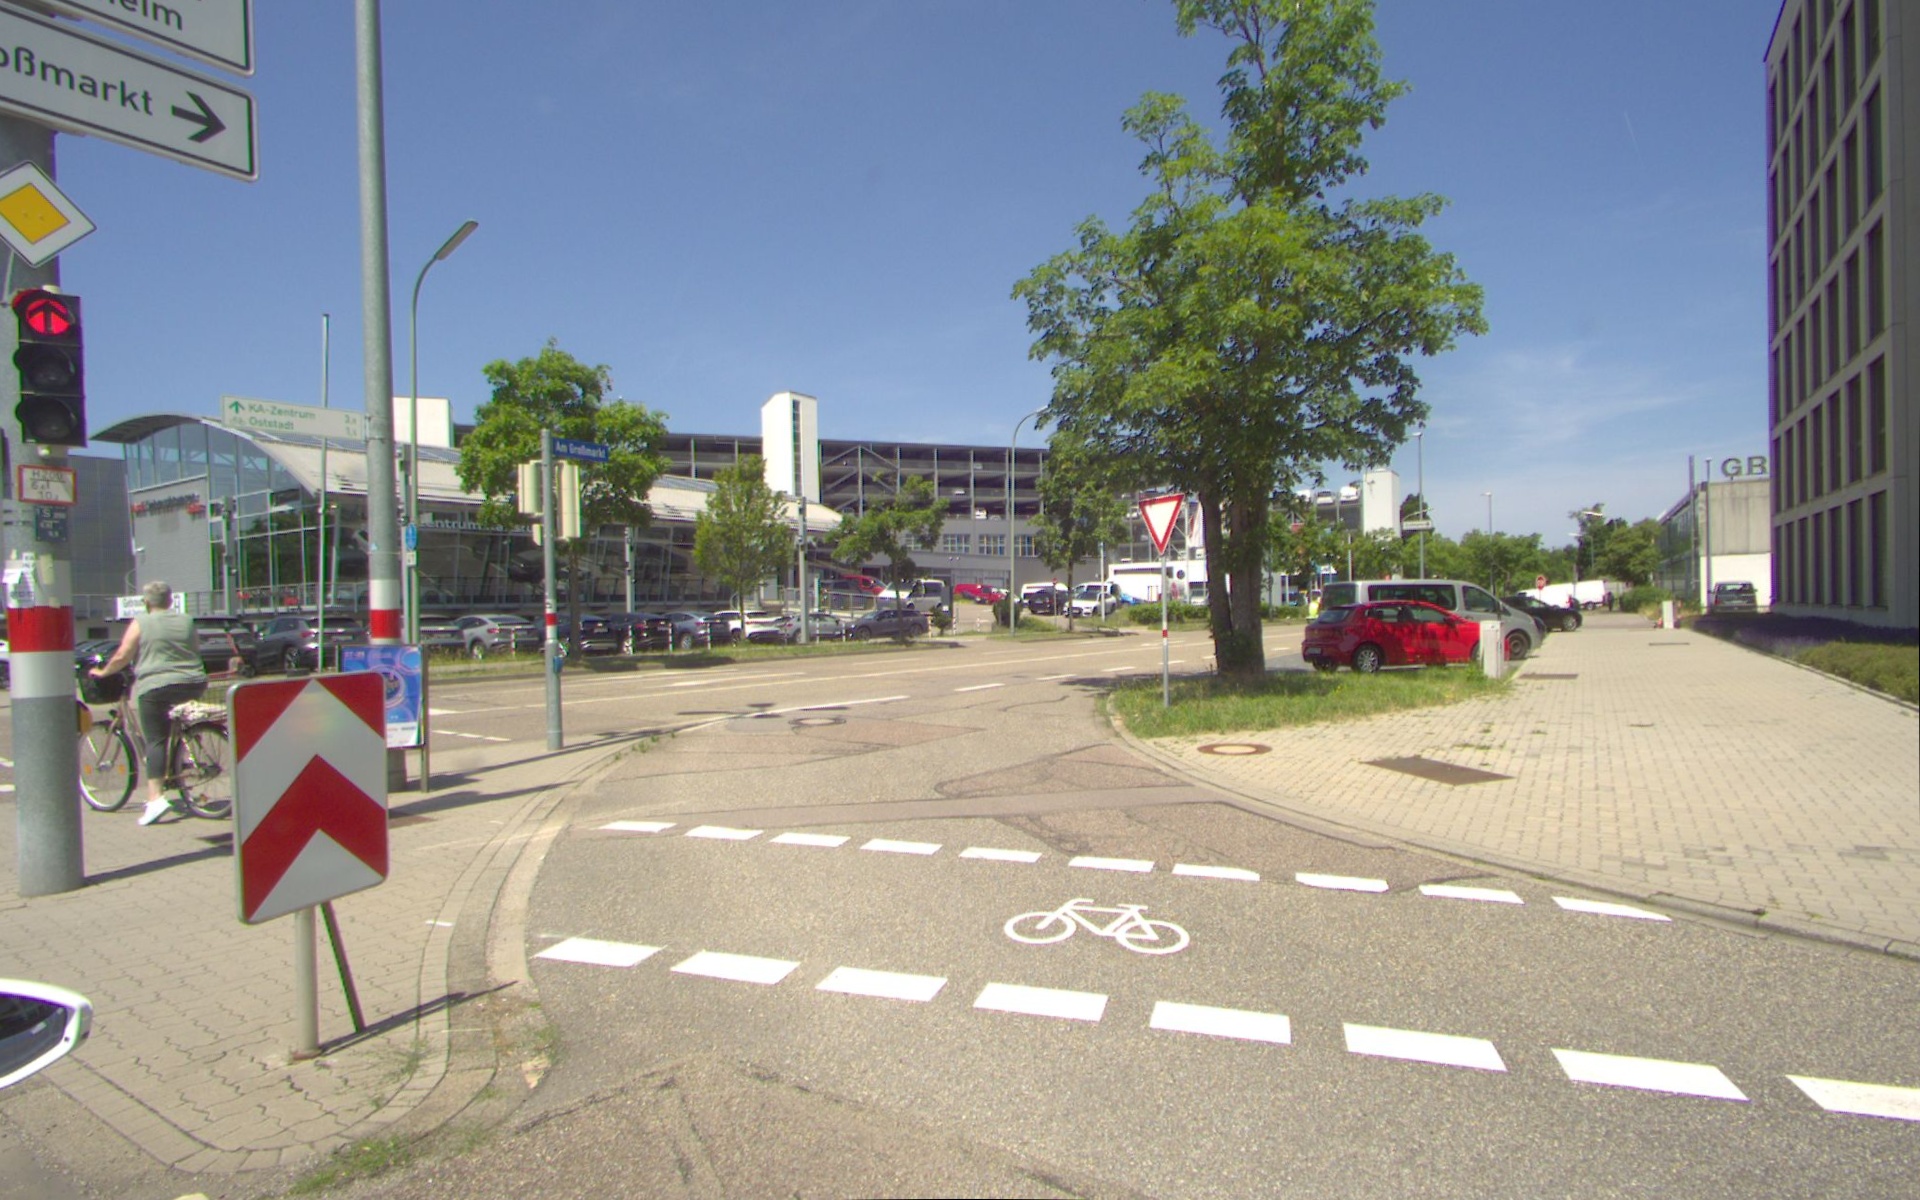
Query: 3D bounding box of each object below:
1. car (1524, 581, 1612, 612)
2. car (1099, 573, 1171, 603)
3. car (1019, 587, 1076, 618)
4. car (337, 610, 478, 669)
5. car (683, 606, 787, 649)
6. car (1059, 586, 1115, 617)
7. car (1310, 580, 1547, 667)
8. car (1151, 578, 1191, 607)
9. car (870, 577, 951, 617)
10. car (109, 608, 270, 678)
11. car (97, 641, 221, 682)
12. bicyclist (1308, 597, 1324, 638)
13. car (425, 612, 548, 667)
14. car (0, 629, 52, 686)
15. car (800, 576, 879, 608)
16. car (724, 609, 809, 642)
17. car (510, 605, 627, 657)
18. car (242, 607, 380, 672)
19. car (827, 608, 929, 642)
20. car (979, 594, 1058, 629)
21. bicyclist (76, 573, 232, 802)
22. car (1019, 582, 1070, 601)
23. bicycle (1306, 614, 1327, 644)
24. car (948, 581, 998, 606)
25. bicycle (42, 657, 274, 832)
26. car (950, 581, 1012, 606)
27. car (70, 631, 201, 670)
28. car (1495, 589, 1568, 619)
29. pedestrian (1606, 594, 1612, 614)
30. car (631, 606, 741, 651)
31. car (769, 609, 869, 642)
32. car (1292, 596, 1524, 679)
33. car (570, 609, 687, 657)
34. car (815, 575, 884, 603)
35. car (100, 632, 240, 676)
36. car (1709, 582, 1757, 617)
[{"bbox_3d":[54.775,-0.302,90.260,6.606,2.552,2.206,-1,-2,35],"label":"car"},{"bbox_3d":[12.006,-0.778,68.862,4.521,1.912,1.904,-1,0,31],"label":"car"},{"bbox_3d":[5.402,0.185,61.277,1.970,1.727,3.983,-1,-2,30],"label":"car"},{"bbox_3d":[-16.542,1.197,29.956,3.937,1.675,1.844,-1,-3,28],"label":"car"},{"bbox_3d":[-9.273,1.162,41.183,3.937,1.675,1.844,-1,-3,28],"label":"car"},{"bbox_3d":[7.665,0.142,60.224,1.970,1.727,3.983,-1,-2,30],"label":"car"},{"bbox_3d":[10.902,0.514,23.397,4.841,1.911,1.918,0,0,-12],"label":"car"},{"bbox_3d":[16.387,-0.548,77.704,1.812,2.039,3.981,-1,-2,31],"label":"car"},{"bbox_3d":[-2.608,-0.159,54.085,1.885,1.992,5.228,-1,0,29],"label":"car"},{"bbox_3d":[-19.528,1.110,25.334,4.442,1.578,1.863,-3,0,33],"label":"car"},{"bbox_3d":[-32.884,2.492,41.210,1.619,1.600,3.642,-1,-3,32],"label":"car"},{"bbox_3d":[13.216,0.650,37.147,0.449,1.490,0.714,-1,1,29],"label":"bicyclist"},{"bbox_3d":[-15.044,1.204,31.786,3.758,1.637,1.635,0,0,28],"label":"car"},{"bbox_3d":[-25.154,1.399,24.090,1.843,1.407,4.583,-2,-3,34],"label":"car"},{"bbox_3d":[-6.748,-0.425,56.627,1.888,1.730,4.560,-1,0,35],"label":"car"},{"bbox_3d":[-9.986,1.294,51.643,3.938,1.591,1.842,-1,0,-28],"label":"car"},{"bbox_3d":[-13.354,1.065,34.145,3.851,1.676,1.627,-1,-1,28],"label":"car"},{"bbox_3d":[-17.838,1.100,27.481,3.946,1.675,1.840,-2,-3,35],"label":"car"},{"bbox_3d":[-3.891,1.165,47.716,4.554,1.491,1.839,-1,0,-34],"label":"car"},{"bbox_3d":[2.990,0.555,50.358,1.888,1.717,4.560,-1,0,35],"label":"car"},{"bbox_3d":[-6.110,0.639,7.605,0.812,1.626,0.628,-1,-1,26],"label":"bicyclist"},{"bbox_3d":[7.806,-0.760,92.277,4.294,1.674,1.904,-1,0,31],"label":"car"},{"bbox_3d":[13.288,1.072,37.281,0.462,1.079,1.782,-1,0,29],"label":"bicycle"},{"bbox_3d":[0.985,-0.445,74.532,1.859,1.728,3.977,-1,-1,33],"label":"car"},{"bbox_3d":[-6.098,1.035,7.595,1.864,1.148,0.628,0,-1,26],"label":"bicycle"},{"bbox_3d":[1.651,-0.490,78.016,4.525,1.821,1.903,-1,0,34],"label":"car"},{"bbox_3d":[-34.756,2.132,42.303,1.610,1.593,3.977,-1,-3,32],"label":"car"},{"bbox_3d":[41.492,0.307,72.696,4.513,2.039,1.990,-1,-2,33],"label":"car"},{"bbox_3d":[52.498,0.308,81.017,0.399,1.580,0.546,-1,1,33],"label":"pedestrian"},{"bbox_3d":[-10.651,1.129,38.918,3.937,1.675,1.844,-1,-3,28],"label":"car"},{"bbox_3d":[-6.954,1.249,49.604,4.527,1.491,1.902,-1,0,-34],"label":"car"},{"bbox_3d":[8.956,0.728,20.159,3.923,1.451,1.699,-2,-1,-7],"label":"car"},{"bbox_3d":[-12.097,1.219,36.511,3.937,1.675,1.844,-1,-3,28],"label":"car"},{"bbox_3d":[-7.290,-0.711,66.120,4.082,1.745,1.907,-1,0,25],"label":"car"},{"bbox_3d":[-30.911,2.108,39.294,1.633,1.642,3.980,-1,-3,32],"label":"car"},{"bbox_3d":[42.239,0.021,54.780,1.772,1.750,3.978,-1,-2,34],"label":"car"}]
